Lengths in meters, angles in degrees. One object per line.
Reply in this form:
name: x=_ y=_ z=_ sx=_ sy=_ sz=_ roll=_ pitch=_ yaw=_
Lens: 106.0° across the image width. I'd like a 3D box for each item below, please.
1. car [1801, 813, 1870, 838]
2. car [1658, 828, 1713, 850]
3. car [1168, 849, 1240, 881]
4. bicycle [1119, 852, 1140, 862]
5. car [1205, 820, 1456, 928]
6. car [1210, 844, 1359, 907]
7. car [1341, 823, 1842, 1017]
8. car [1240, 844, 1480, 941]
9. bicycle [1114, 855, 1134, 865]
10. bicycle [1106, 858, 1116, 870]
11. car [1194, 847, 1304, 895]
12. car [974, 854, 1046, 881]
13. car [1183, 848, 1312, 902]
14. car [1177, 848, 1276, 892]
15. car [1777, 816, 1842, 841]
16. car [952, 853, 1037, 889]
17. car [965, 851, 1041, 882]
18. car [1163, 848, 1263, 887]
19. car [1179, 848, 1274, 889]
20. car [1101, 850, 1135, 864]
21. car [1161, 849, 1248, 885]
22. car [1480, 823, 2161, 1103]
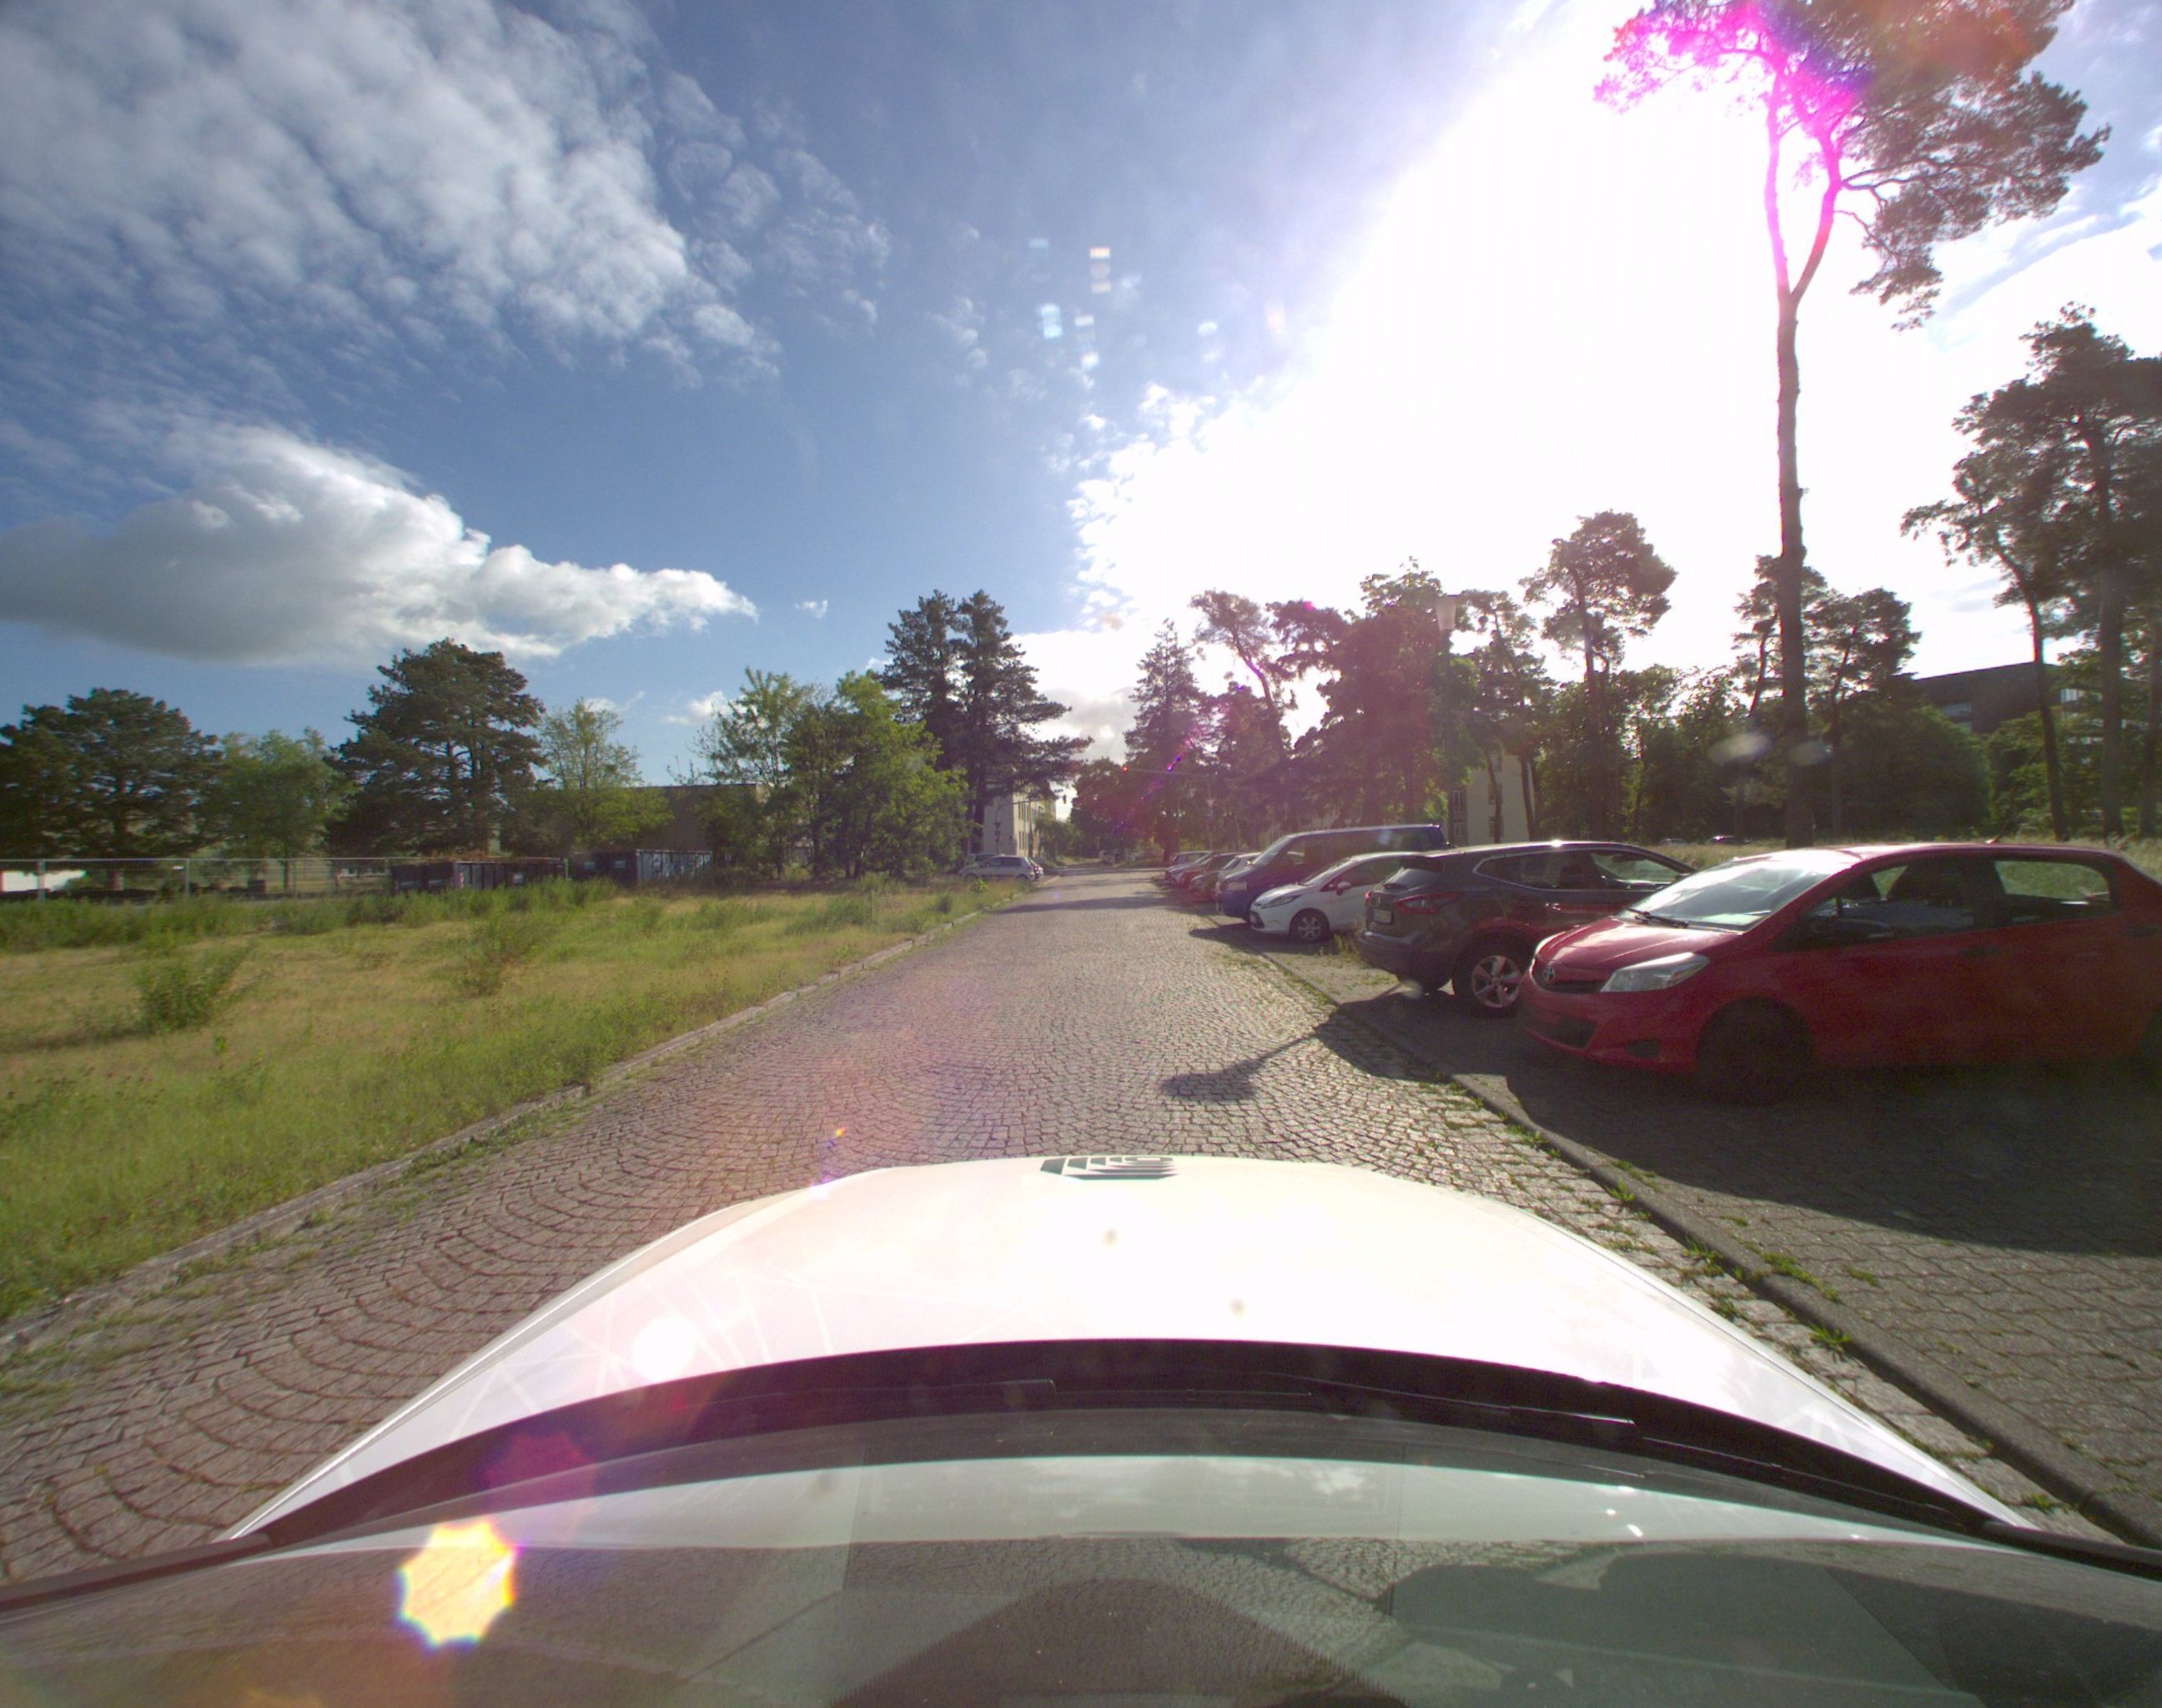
car: x=64.817 y=-2.438 z=70.013 sx=3.972 sy=2.013 sz=2.001 roll=-2 pitch=0 yaw=1
car: x=60.806 y=-1.484 z=81.957 sx=3.972 sy=2.013 sz=2.001 roll=-2 pitch=0 yaw=1
car: x=6.147 y=0.541 z=40.925 sx=3.332 sy=1.482 sz=1.645 roll=-2 pitch=0 yaw=0
bicycle: x=5.440 y=0.340 z=91.179 sx=2.172 sy=1.100 sz=0.805 roll=-1 pitch=0 yaw=-8
car: x=5.146 y=0.397 z=17.305 sx=4.663 sy=2.013 sz=2.083 roll=-2 pitch=0 yaw=-2
car: x=5.528 y=0.576 z=22.476 sx=3.679 sy=1.465 sz=1.646 roll=-3 pitch=0 yaw=2
car: x=4.874 y=0.590 z=8.207 sx=3.923 sy=1.621 sz=1.772 roll=-2 pitch=0 yaw=0
car: x=4.893 y=0.643 z=14.630 sx=3.708 sy=1.488 sz=1.645 roll=-2 pitch=0 yaw=-1
bicycle: x=4.749 y=0.643 z=89.990 sx=2.172 sy=1.100 sz=0.805 roll=-1 pitch=0 yaw=-8
bicycle: x=3.142 y=1.059 z=86.565 sx=0.803 sy=1.169 sz=2.177 roll=-3 pitch=0 yaw=-4
car: x=5.781 y=0.576 z=28.281 sx=3.466 sy=1.529 sz=1.645 roll=-2 pitch=0 yaw=0
car: x=-4.168 y=0.768 z=48.199 sx=3.972 sy=1.453 sz=2.001 roll=1 pitch=0 yaw=1
car: x=5.115 y=0.631 z=25.376 sx=3.663 sy=1.467 sz=1.645 roll=-3 pitch=0 yaw=0
car: x=5.495 y=0.577 z=30.982 sx=3.466 sy=1.529 sz=1.645 roll=-2 pitch=0 yaw=0
car: x=64.711 y=-2.263 z=72.382 sx=3.972 sy=2.013 sz=2.001 roll=-2 pitch=0 yaw=1
car: x=-4.228 y=0.825 z=40.404 sx=3.975 sy=1.600 sz=1.999 roll=-2 pitch=0 yaw=-1
car: x=-4.325 y=0.675 z=45.801 sx=3.972 sy=1.601 sz=2.001 roll=2 pitch=0 yaw=1
car: x=5.709 y=0.563 z=35.520 sx=4.024 sy=1.529 sz=1.644 roll=-2 pitch=0 yaw=-2
car: x=5.921 y=0.561 z=33.434 sx=3.590 sy=1.529 sz=1.645 roll=-2 pitch=0 yaw=0
car: x=4.851 y=0.411 z=107.473 sx=4.464 sy=1.728 sz=2.001 roll=-1 pitch=0 yaw=1
car: x=5.754 y=0.580 z=38.292 sx=3.823 sy=1.529 sz=1.645 roll=-2 pitch=0 yaw=0
car: x=5.000 y=0.623 z=5.535 sx=3.748 sy=1.530 sz=1.646 roll=-2 pitch=0 yaw=1
